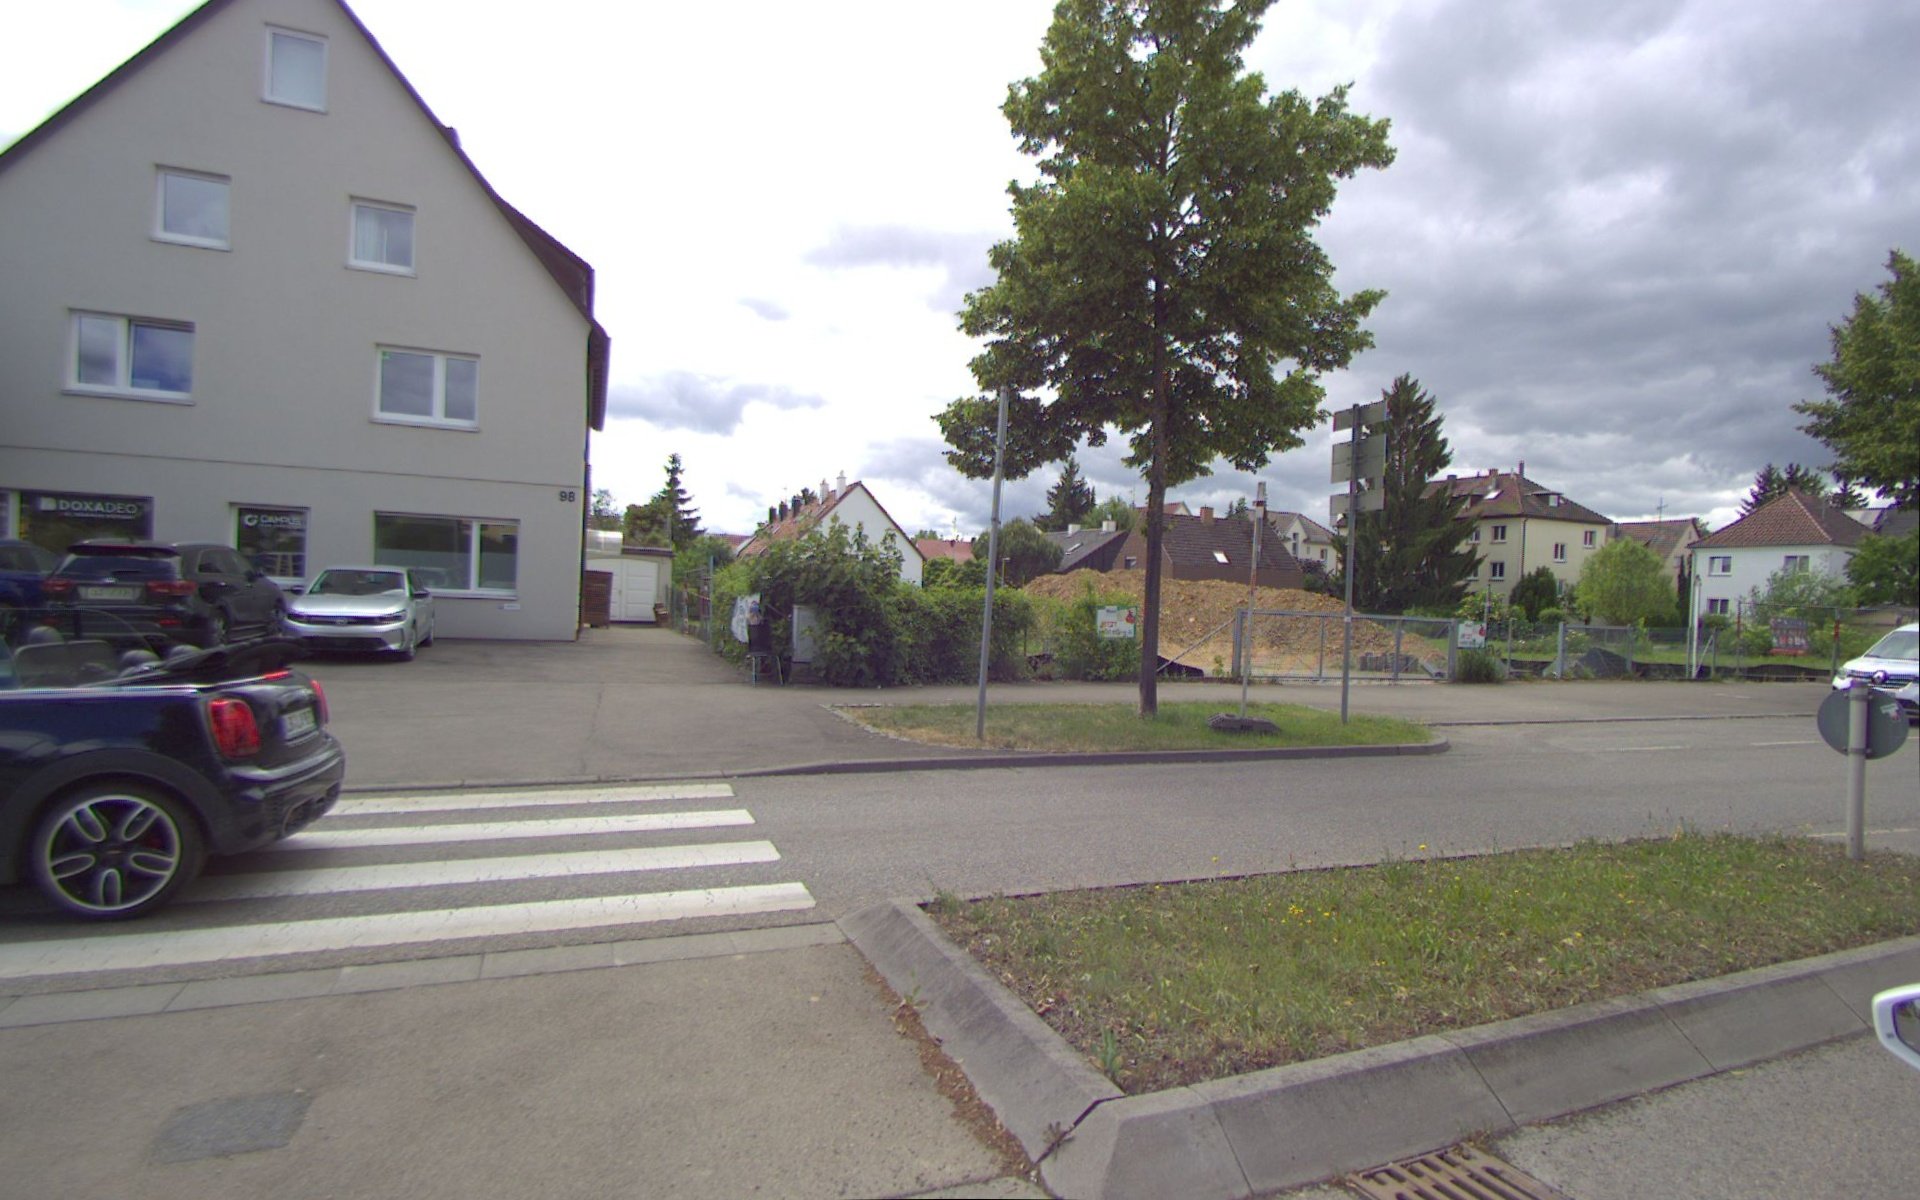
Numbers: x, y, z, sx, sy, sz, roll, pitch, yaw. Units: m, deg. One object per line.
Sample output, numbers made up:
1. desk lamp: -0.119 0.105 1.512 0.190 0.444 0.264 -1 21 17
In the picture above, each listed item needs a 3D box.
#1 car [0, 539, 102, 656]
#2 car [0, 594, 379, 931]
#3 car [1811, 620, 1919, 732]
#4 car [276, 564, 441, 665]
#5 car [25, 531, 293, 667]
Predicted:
1. car: -14.289 -0.113 14.438 1.793 1.556 3.909 3 1 -23
2. car: -5.021 0.665 4.702 3.683 1.380 1.572 2 0 -18
3. car: 17.661 1.346 18.009 4.485 1.794 1.767 2 0 -22
4. car: -9.667 0.160 16.439 1.722 1.421 3.909 2 1 -23
5. car: -11.749 -0.047 15.094 1.827 1.684 3.914 4 1 -18
